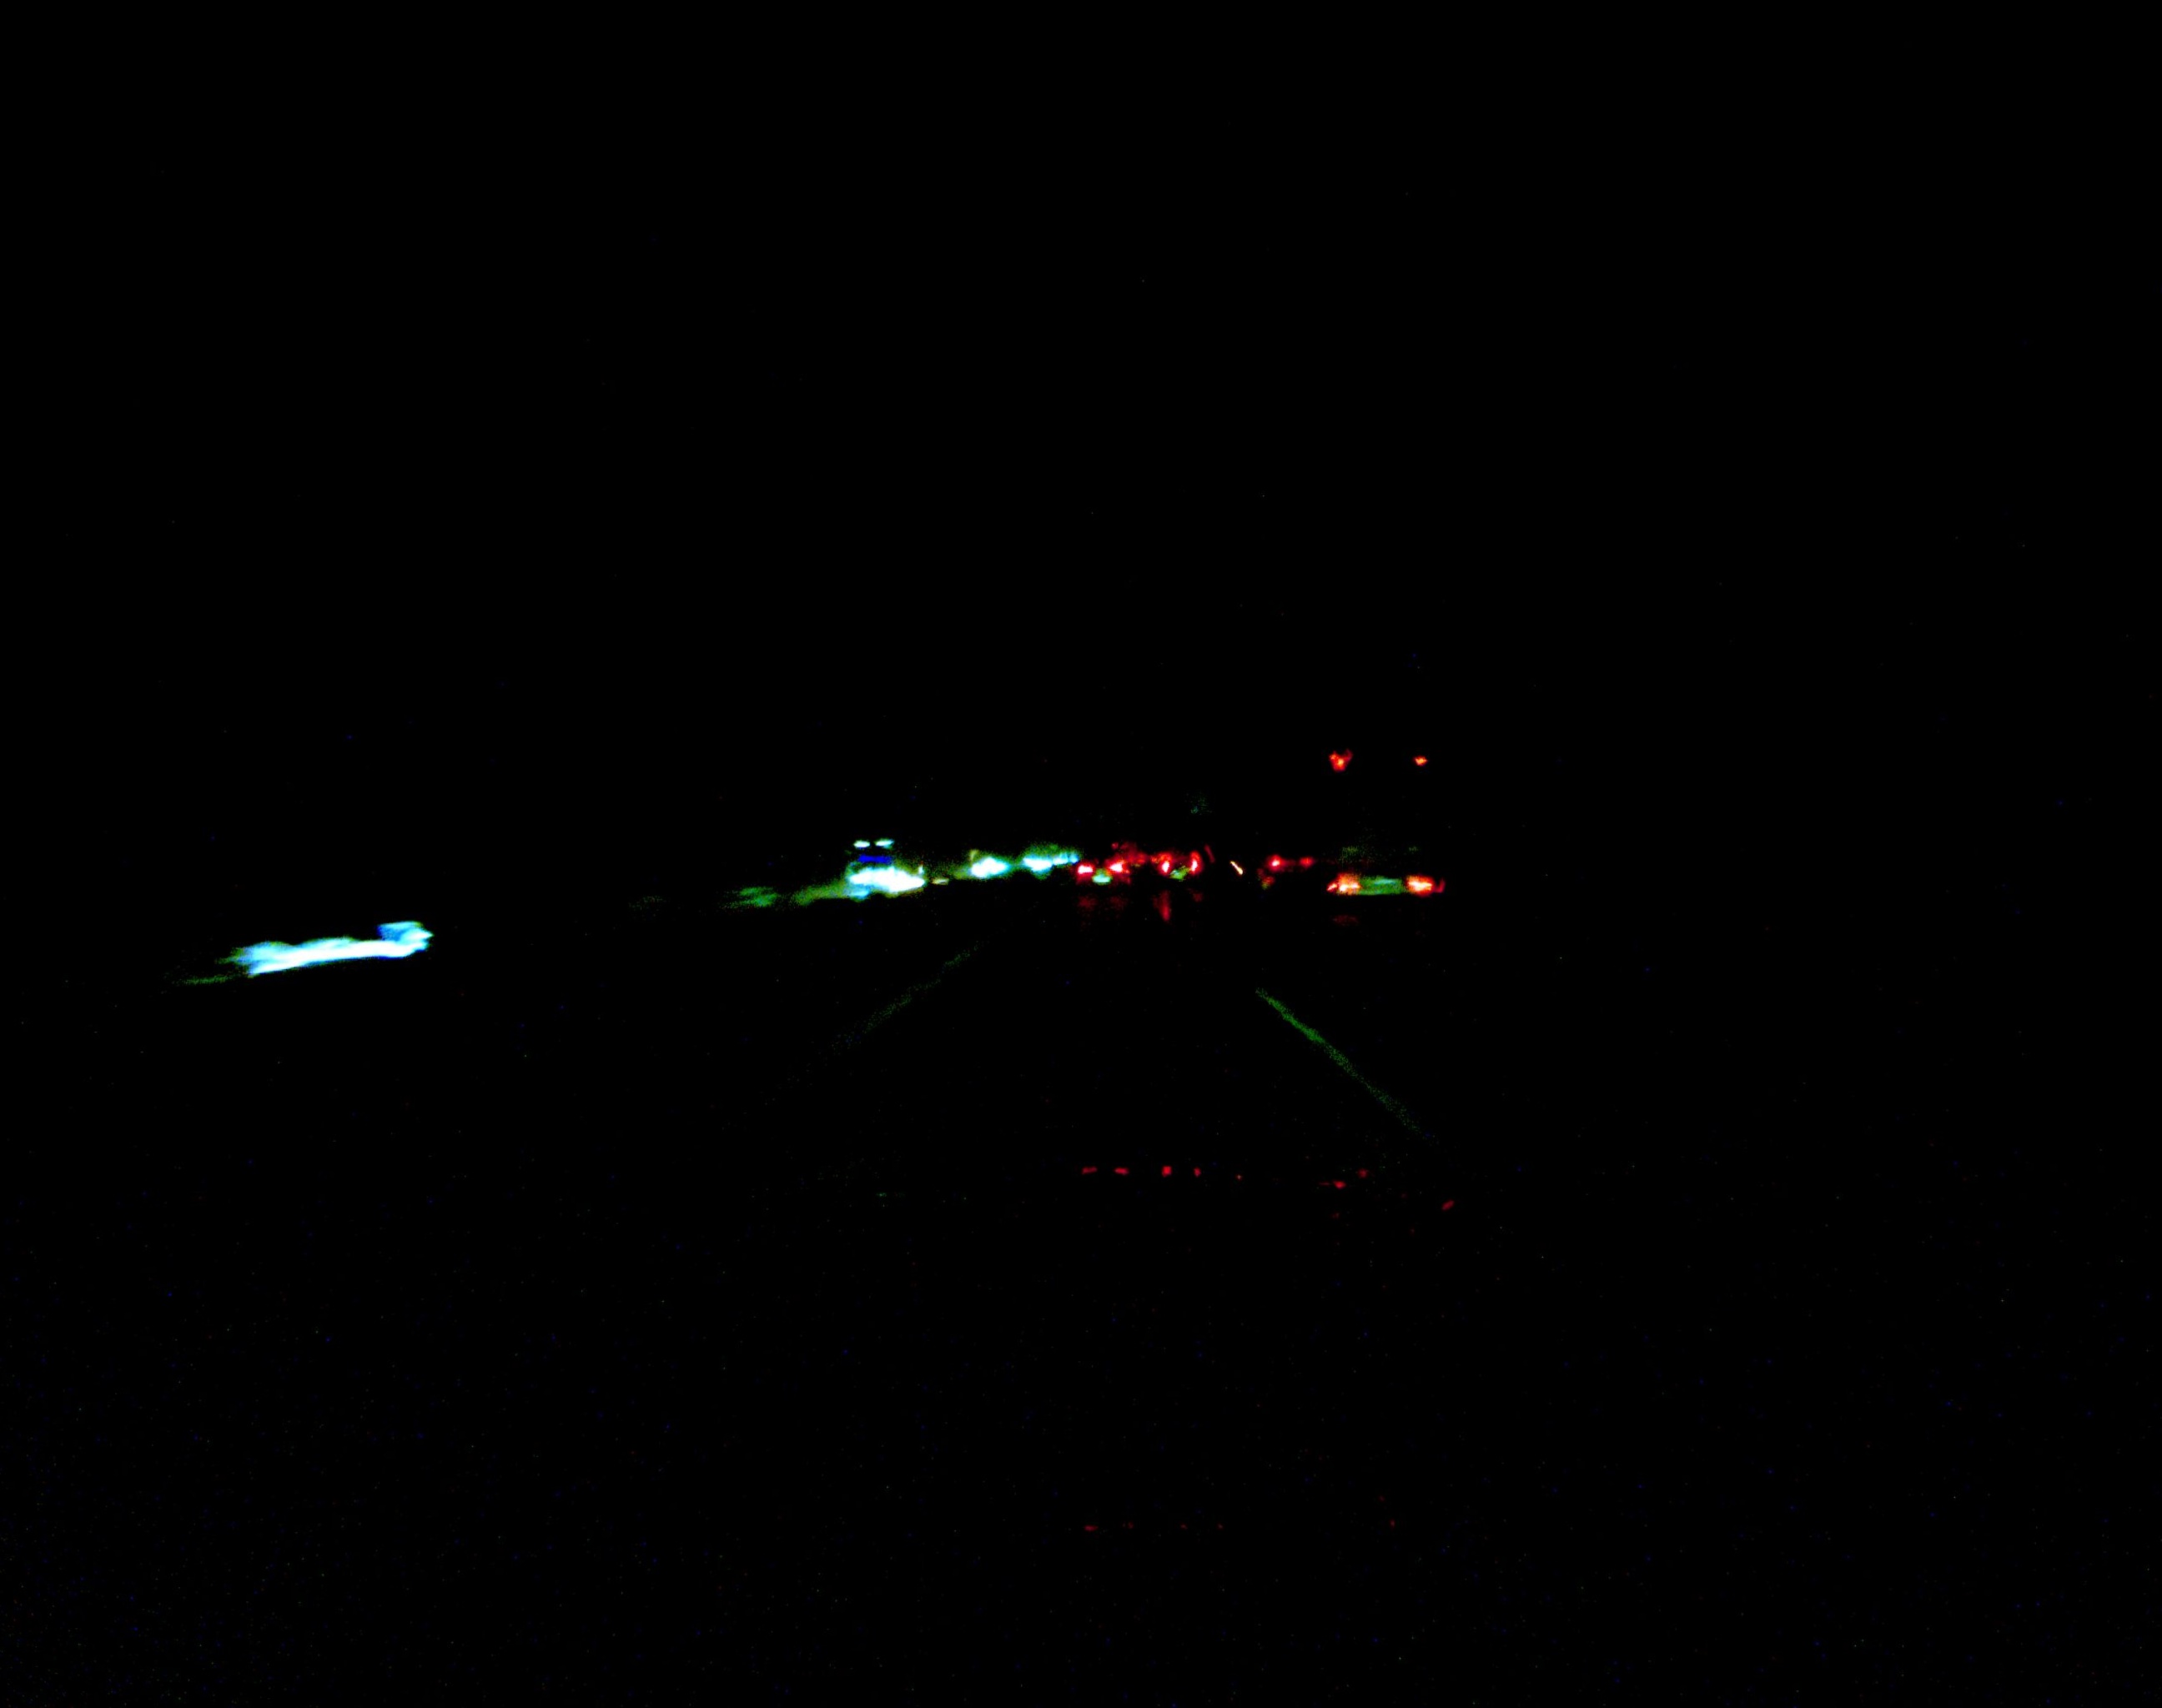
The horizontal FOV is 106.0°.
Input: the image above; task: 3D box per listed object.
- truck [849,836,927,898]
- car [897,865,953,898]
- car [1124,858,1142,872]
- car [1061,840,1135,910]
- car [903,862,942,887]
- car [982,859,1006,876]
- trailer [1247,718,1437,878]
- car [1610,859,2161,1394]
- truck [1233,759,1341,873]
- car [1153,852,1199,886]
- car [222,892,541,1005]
[{"bbox_3d":[-15.184,0.992,65.075,2.920,4.327,11.440,-3,-1,2],"label":"truck"},{"bbox_3d":[-7.643,1.319,40.200,1.747,1.362,4.118,-3,0,2],"label":"car"},{"bbox_3d":[6.360,1.350,99.501,2.128,1.618,4.002,0,0,2],"label":"car"},{"bbox_3d":[0.660,0.800,34.009,2.701,2.534,5.830,-3,0,0],"label":"car"},{"bbox_3d":[-10.715,1.376,55.452,1.748,1.525,4.116,-3,0,0],"label":"car"},{"bbox_3d":[-9.833,1.519,92.594,2.055,1.824,4.882,0,0,2],"label":"car"},{"bbox_3d":[8.161,-1.478,27.679,2.793,4.212,12.100,-1,0,1],"label":"trailer"},{"bbox_3d":[3.697,0.734,2.573,1.607,1.412,3.792,-1,0,0],"label":"car"},{"bbox_3d":[8.401,-1.424,34.261,2.793,4.267,7.450,-1,0,1],"label":"truck"},{"bbox_3d":[4.624,0.703,40.005,1.877,1.588,4.001,-1,0,1],"label":"car"},{"bbox_3d":[-12.441,1.590,14.991,1.854,1.581,4.515,0,0,2],"label":"car"}]
